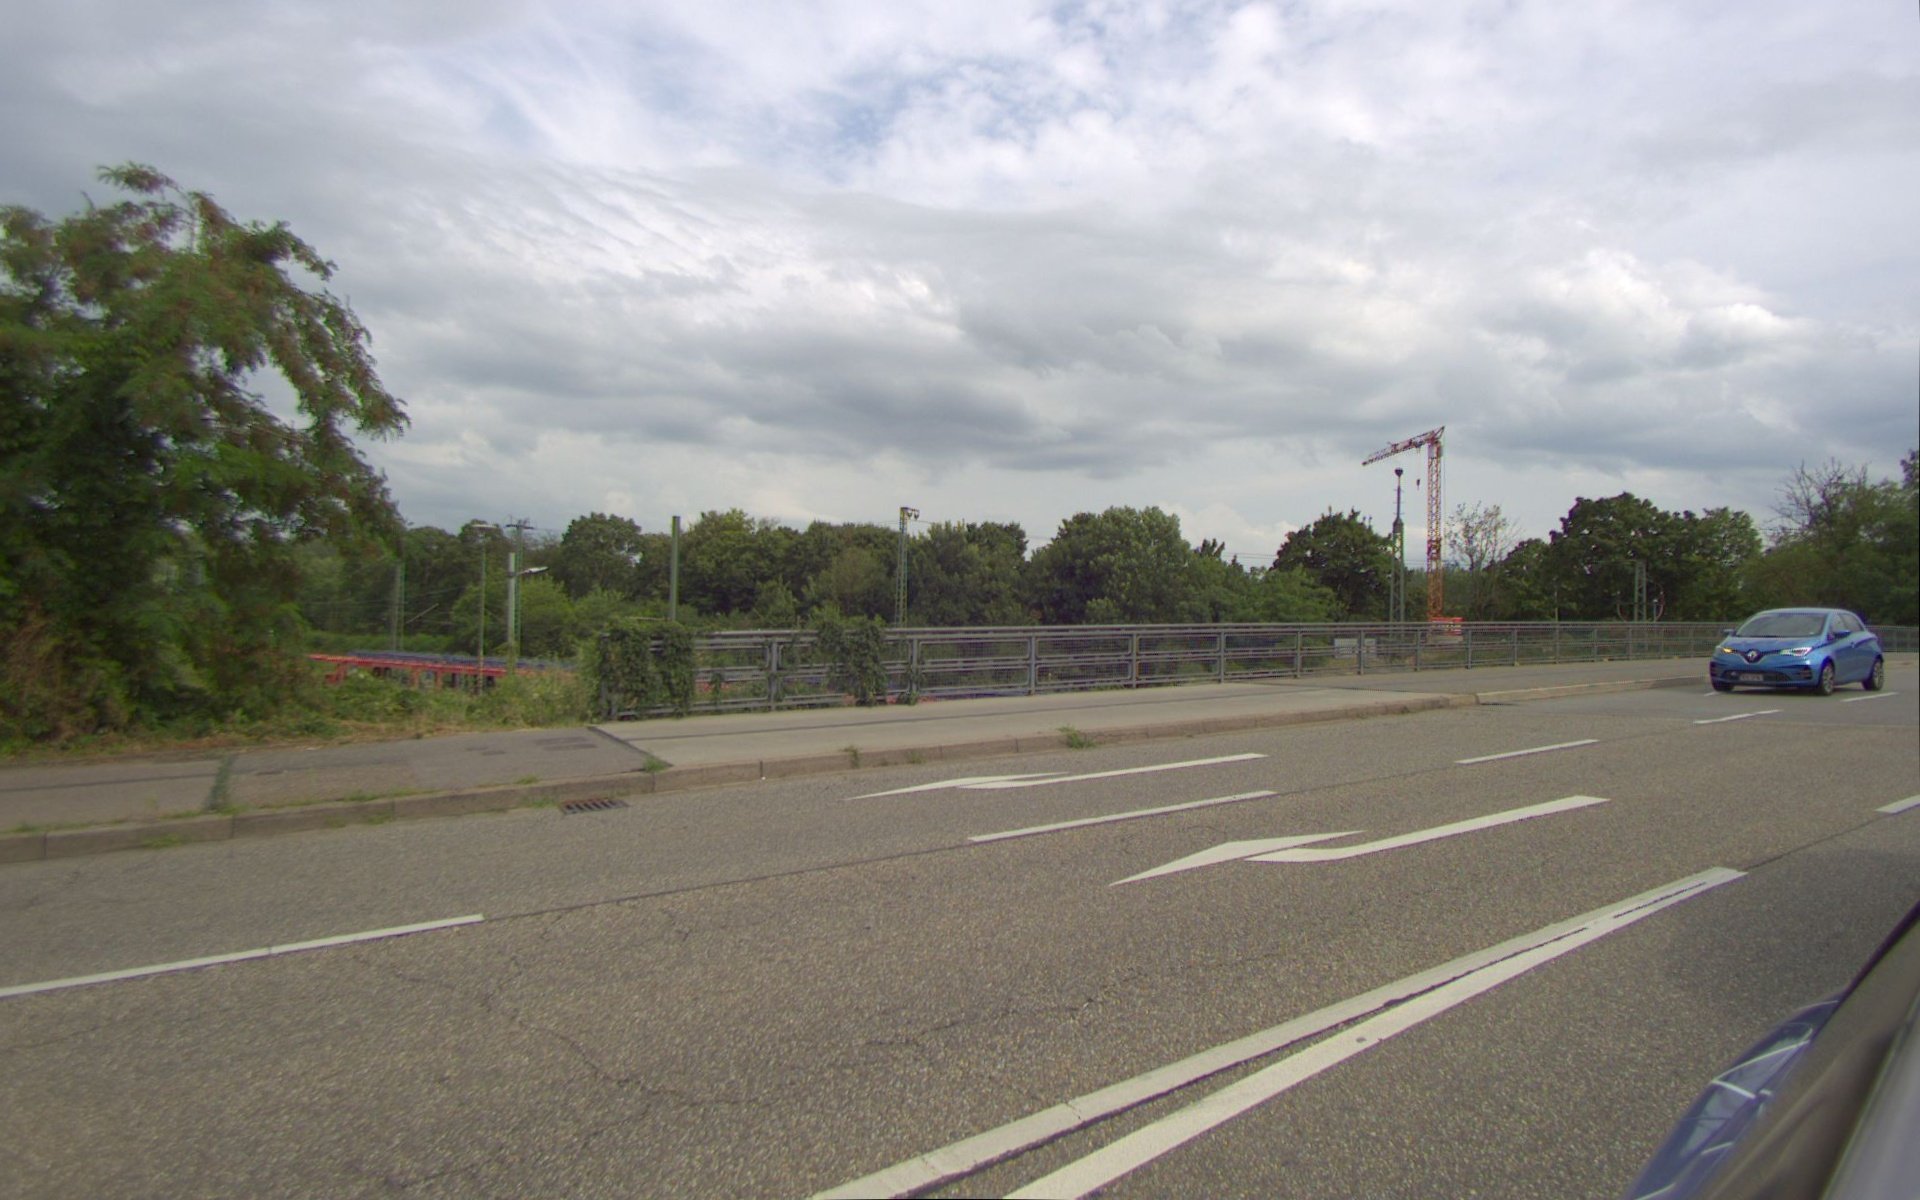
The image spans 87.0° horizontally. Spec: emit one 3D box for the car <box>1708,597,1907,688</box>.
[{"bbox_3d":[15.874,0.741,18.914,3.872,1.541,1.727,0,-2,-33],"label":"car"}]

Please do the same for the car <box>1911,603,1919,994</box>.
[{"bbox_3d":[5.802,0.697,4.151,4.639,1.381,1.854,0,0,-35],"label":"car"}]
